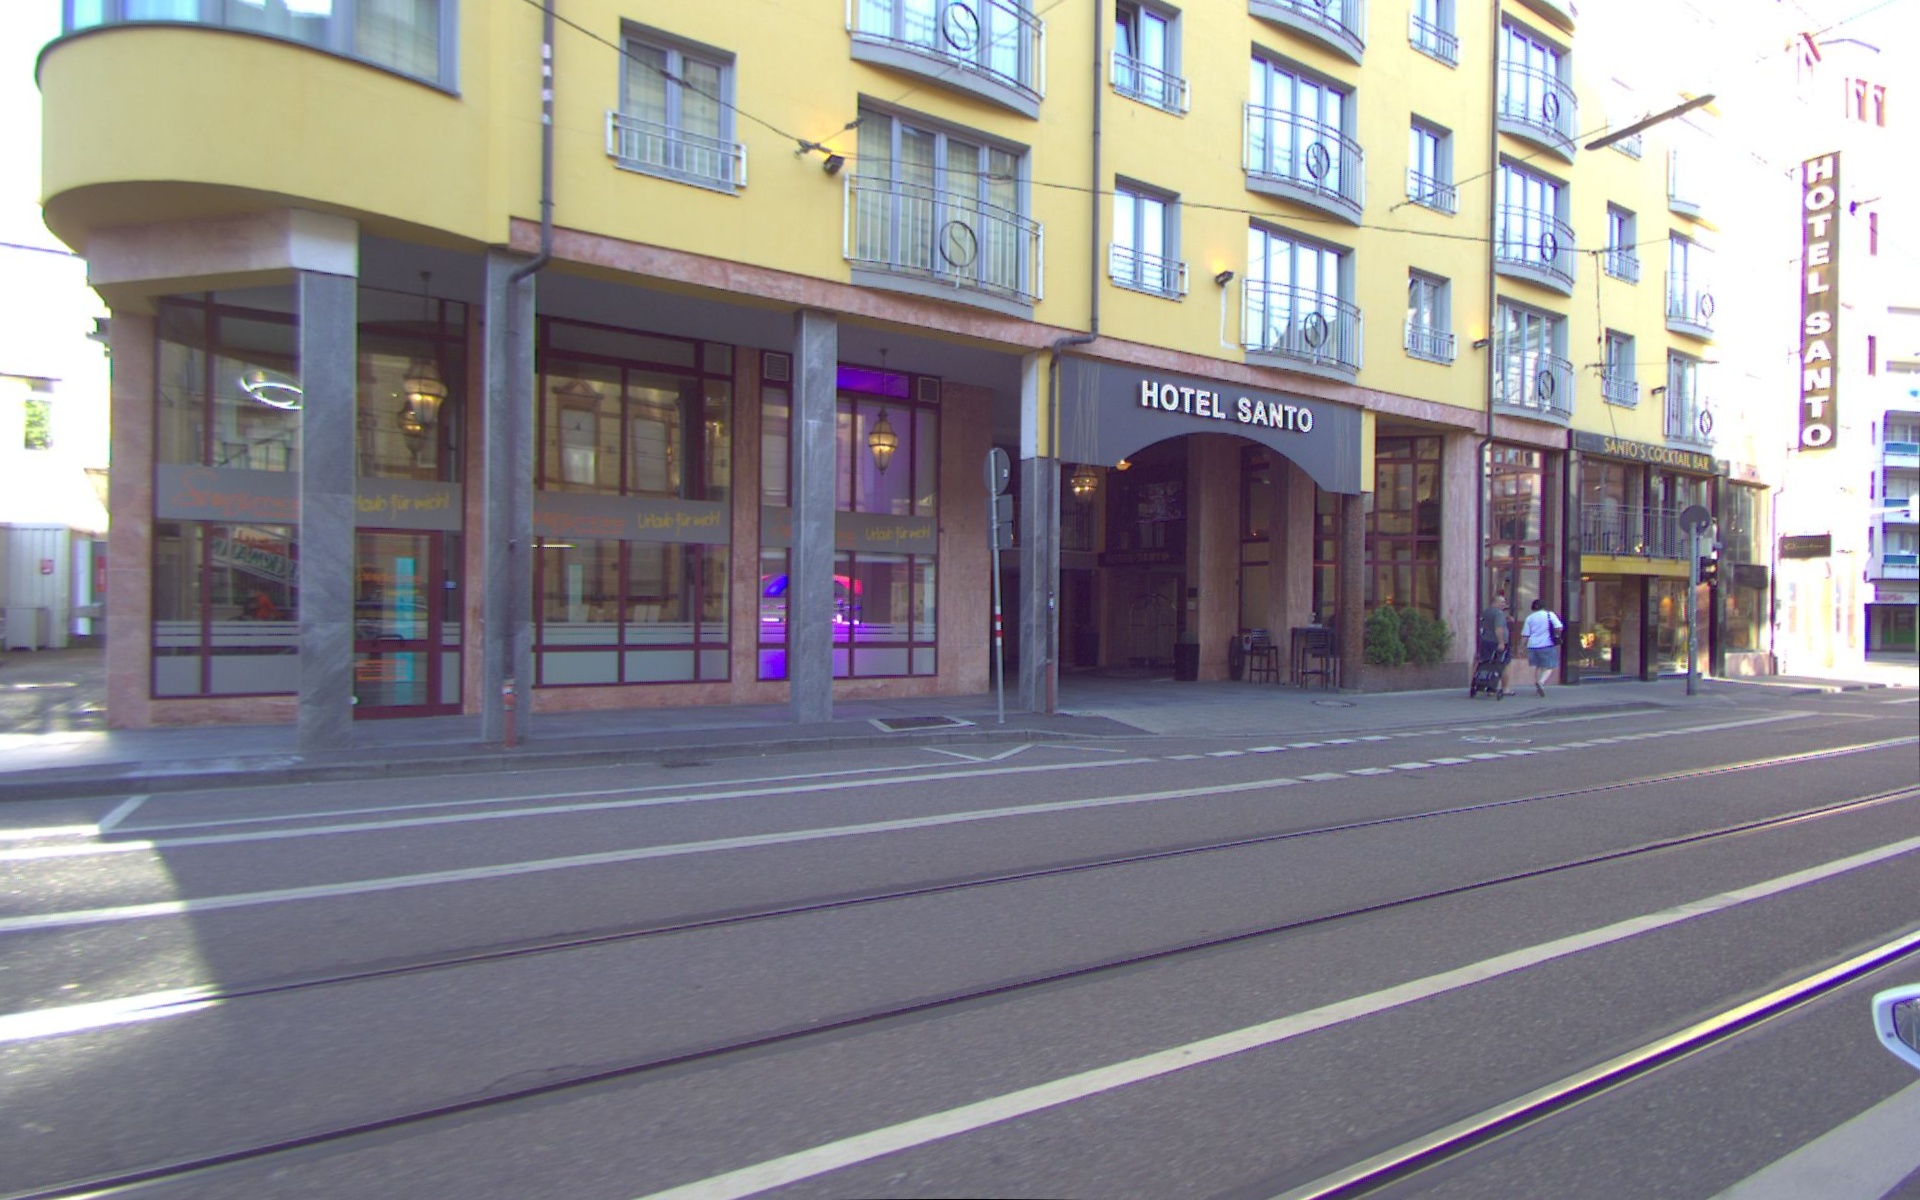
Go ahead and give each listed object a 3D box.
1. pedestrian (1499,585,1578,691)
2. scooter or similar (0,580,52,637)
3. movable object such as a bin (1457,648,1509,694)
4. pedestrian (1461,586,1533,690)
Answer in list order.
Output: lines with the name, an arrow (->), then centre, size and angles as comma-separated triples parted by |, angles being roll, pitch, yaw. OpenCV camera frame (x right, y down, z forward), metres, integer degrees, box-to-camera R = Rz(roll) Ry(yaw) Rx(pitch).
pedestrian -> 10.591, 0.674, 18.391 | 1.034, 1.843, 0.747 | 0, 4, -32
scooter or similar -> -16.988, 0.156, 18.046 | 0.801, 0.997, 1.262 | 1, -1, -33
movable object such as a bin -> 9.062, 1.217, 17.392 | 0.831, 0.726, 0.381 | 0, 4, -31
pedestrian -> 9.669, 0.665, 18.096 | 0.741, 1.795, 0.793 | 0, 4, -32
